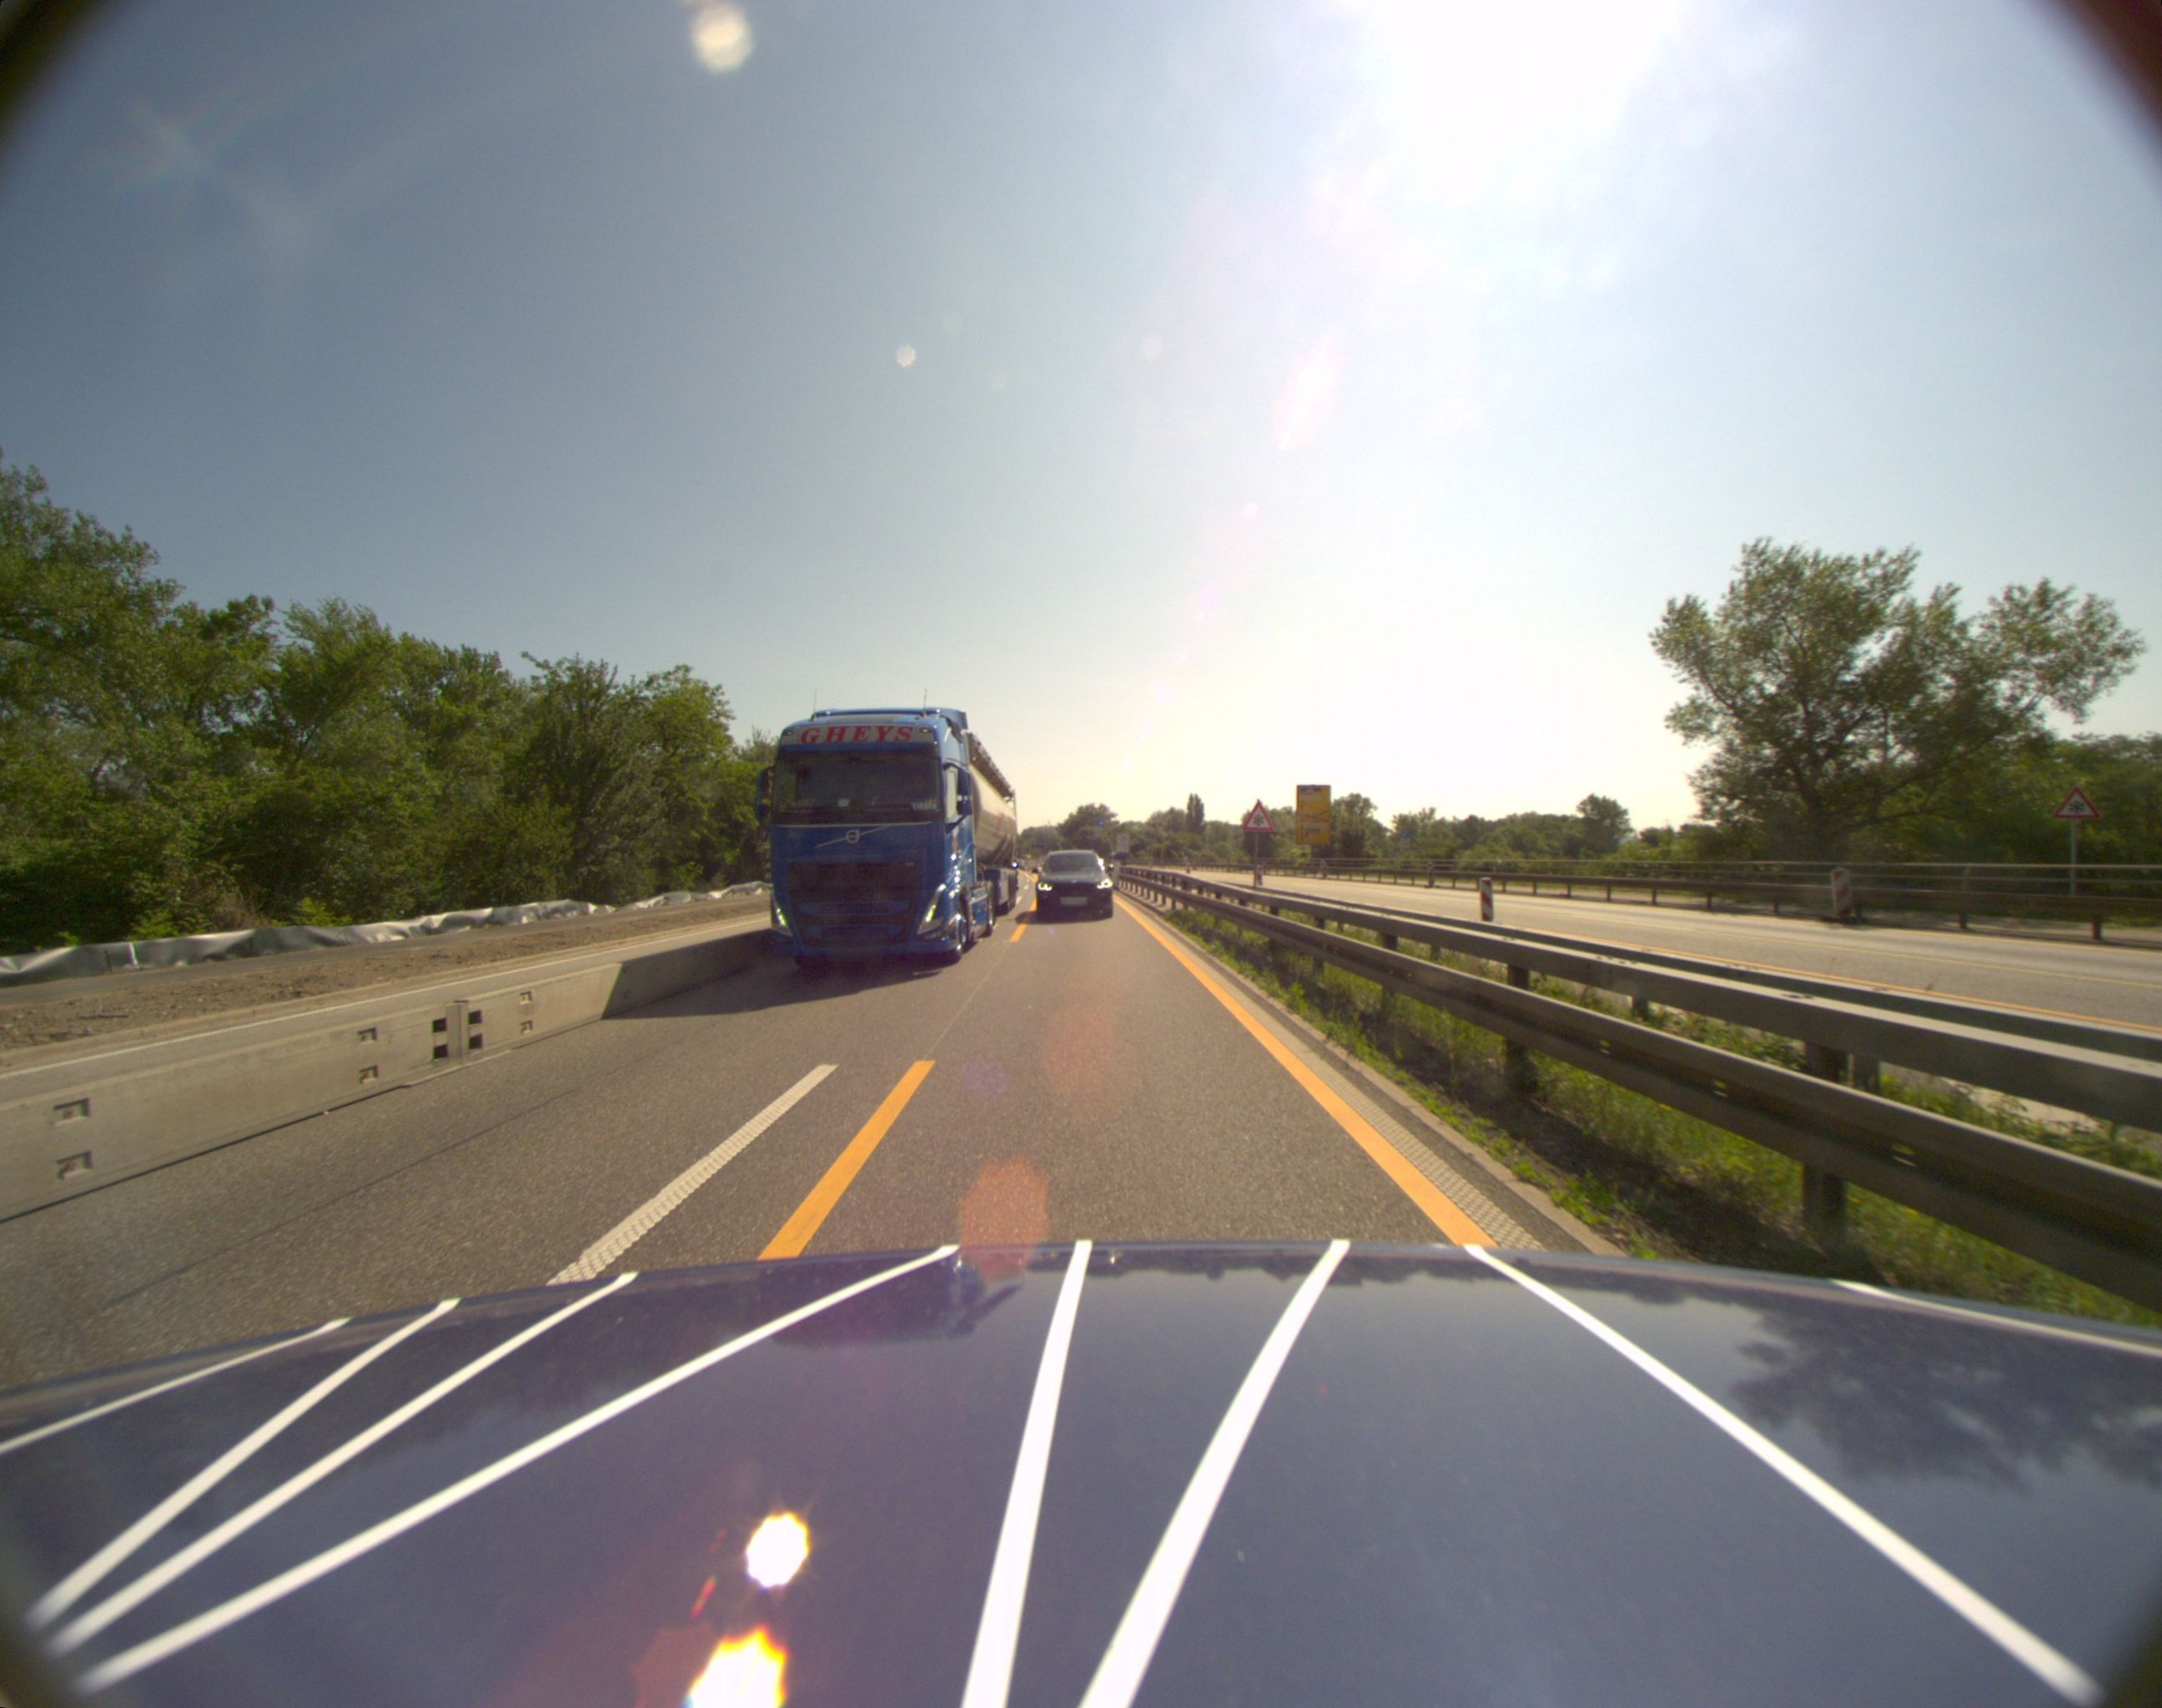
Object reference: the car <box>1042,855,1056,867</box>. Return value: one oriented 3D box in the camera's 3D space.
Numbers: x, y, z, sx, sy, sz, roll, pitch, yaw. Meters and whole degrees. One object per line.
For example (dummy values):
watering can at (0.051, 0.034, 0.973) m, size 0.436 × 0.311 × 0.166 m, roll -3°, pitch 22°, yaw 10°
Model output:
car at (-5.062, 1.110, 121.585) m, size 1.998 × 2.002 × 4.000 m, roll 1°, pitch 0°, yaw 0°

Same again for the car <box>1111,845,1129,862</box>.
car at (6.239, -0.039, 122.339) m, size 2.152 × 2.645 × 5.544 m, roll 0°, pitch 0°, yaw -4°

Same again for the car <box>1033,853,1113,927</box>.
car at (-0.184, 0.820, 19.831) m, size 1.789 × 1.651 × 4.486 m, roll -2°, pitch 0°, yaw 0°

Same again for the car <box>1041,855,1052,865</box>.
car at (-6.716, 1.149, 147.745) m, size 1.998 × 2.002 × 4.000 m, roll 1°, pitch 0°, yaw 0°

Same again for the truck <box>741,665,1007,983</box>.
truck at (-3.036, -0.376, 13.481) m, size 2.701 × 4.078 × 7.300 m, roll 1°, pitch 0°, yaw 0°

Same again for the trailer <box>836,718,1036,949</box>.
trailer at (-2.990, -0.355, 19.969) m, size 2.701 × 4.113 × 12.614 m, roll 1°, pitch 0°, yaw 0°

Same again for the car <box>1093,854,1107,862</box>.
car at (3.494, 0.737, 140.896) m, size 1.724 × 1.389 × 4.516 m, roll -1°, pitch 0°, yaw -8°

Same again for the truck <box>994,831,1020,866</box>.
truck at (-8.954, -0.609, 90.914) m, size 2.862 × 3.961 × 8.660 m, roll 1°, pitch 0°, yaw -7°
